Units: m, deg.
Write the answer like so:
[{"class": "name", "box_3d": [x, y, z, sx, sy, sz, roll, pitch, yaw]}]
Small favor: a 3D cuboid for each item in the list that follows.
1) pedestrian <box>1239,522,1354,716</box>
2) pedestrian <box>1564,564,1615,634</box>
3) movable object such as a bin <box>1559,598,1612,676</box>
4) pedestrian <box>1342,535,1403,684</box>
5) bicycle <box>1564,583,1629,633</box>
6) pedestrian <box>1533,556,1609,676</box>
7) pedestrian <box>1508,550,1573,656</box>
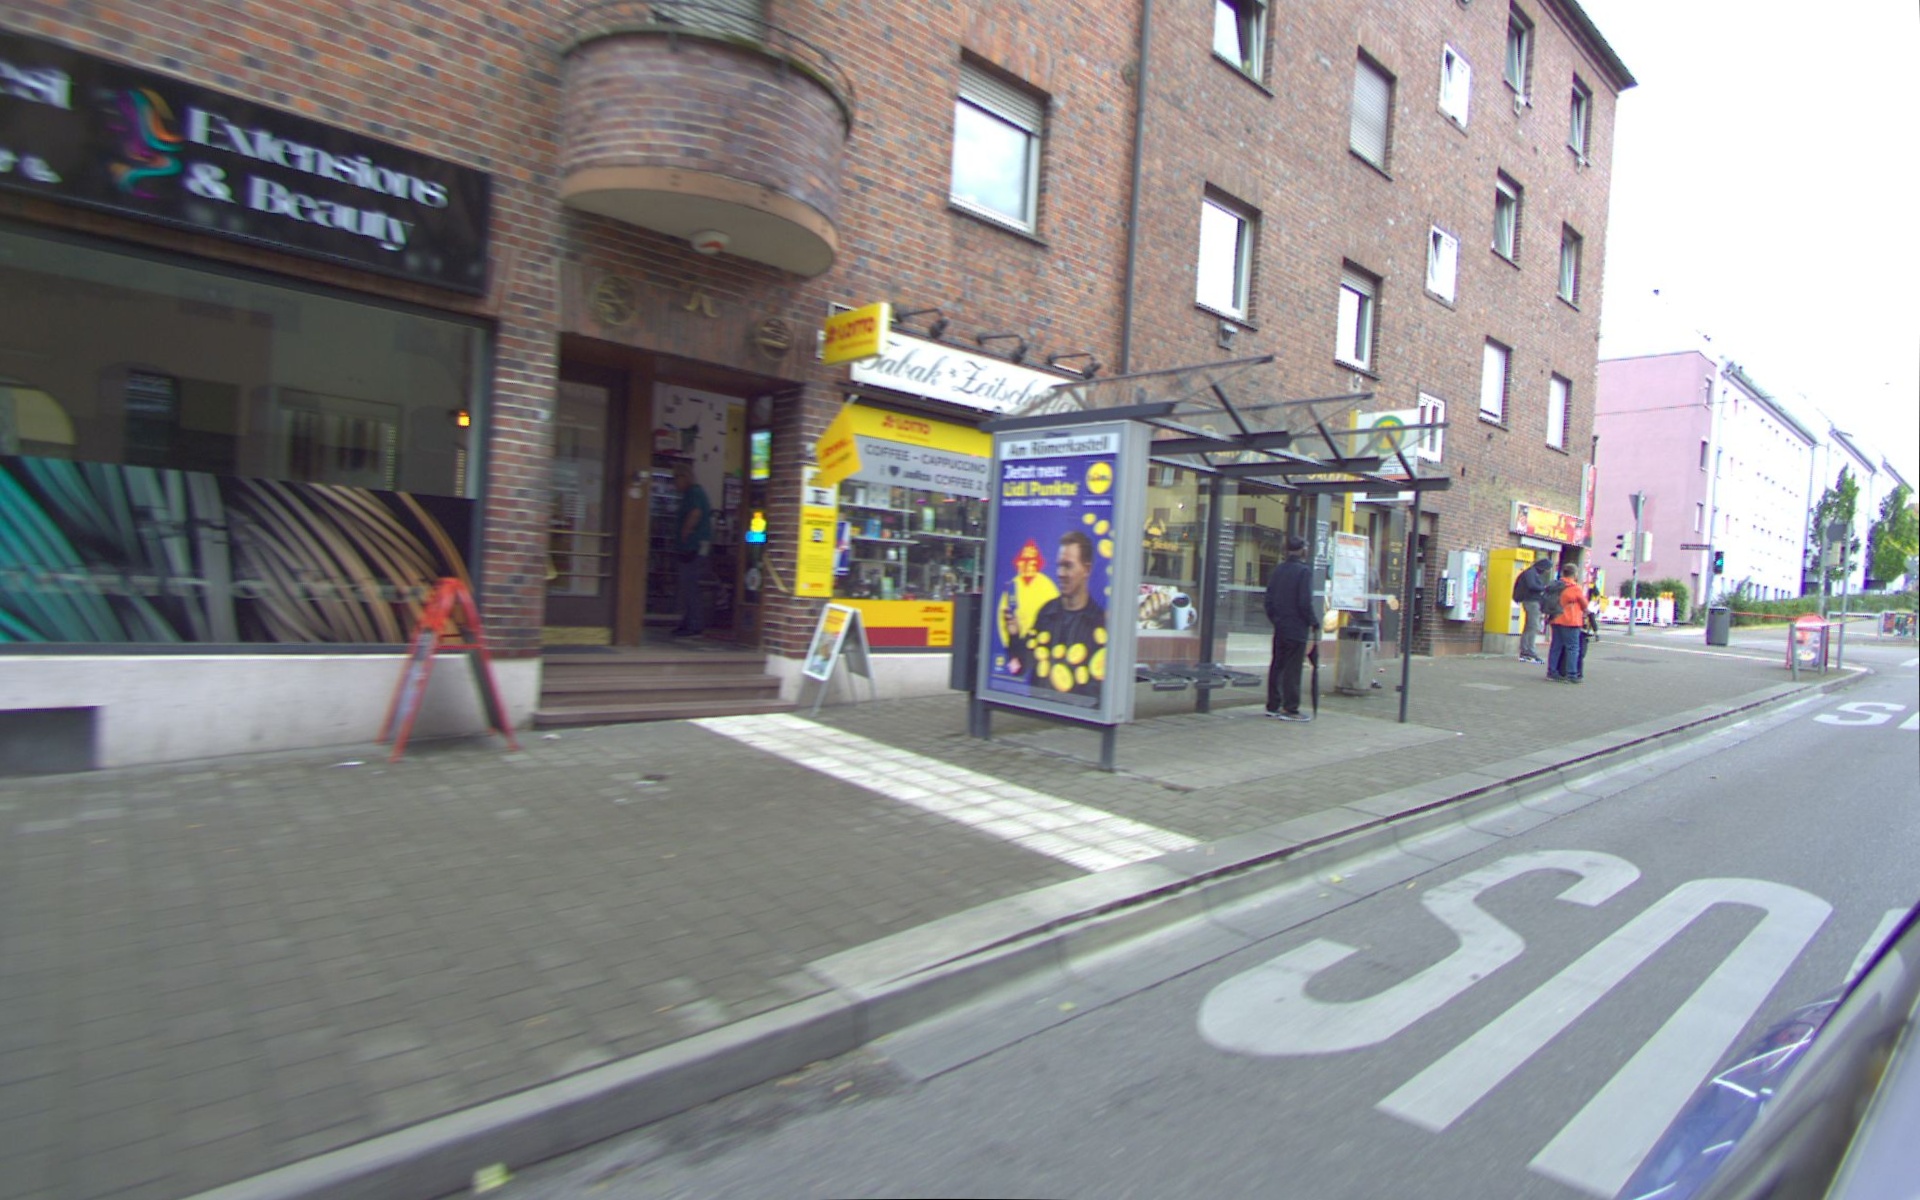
[{"class": "pedestrian", "box_3d": [3.202, 0.157, 9.643, 0.749, 1.749, 0.672, 1, 2, -36]}, {"class": "pedestrian", "box_3d": [15.935, -0.038, 25.621, 0.759, 1.675, 0.790, 0, 5, -41]}, {"class": "movable object such as a bin", "box_3d": [9.004, 0.524, 14.568, 0.402, 1.069, 0.455, 1, 2, -21]}, {"class": "pedestrian", "box_3d": [5.089, 0.099, 12.478, 0.450, 1.786, 0.480, 0, 2, -41]}, {"class": "bicycle", "box_3d": [16.423, 0.193, 26.075, 2.350, 1.208, 0.761, 0, 2, -42]}, {"class": "pedestrian", "box_3d": [8.713, 0.217, 14.444, 0.666, 1.657, 0.568, 1, 2, -21]}, {"class": "pedestrian", "box_3d": [9.998, 0.035, 17.425, 0.763, 1.771, 0.649, 1, 2, -36]}]
